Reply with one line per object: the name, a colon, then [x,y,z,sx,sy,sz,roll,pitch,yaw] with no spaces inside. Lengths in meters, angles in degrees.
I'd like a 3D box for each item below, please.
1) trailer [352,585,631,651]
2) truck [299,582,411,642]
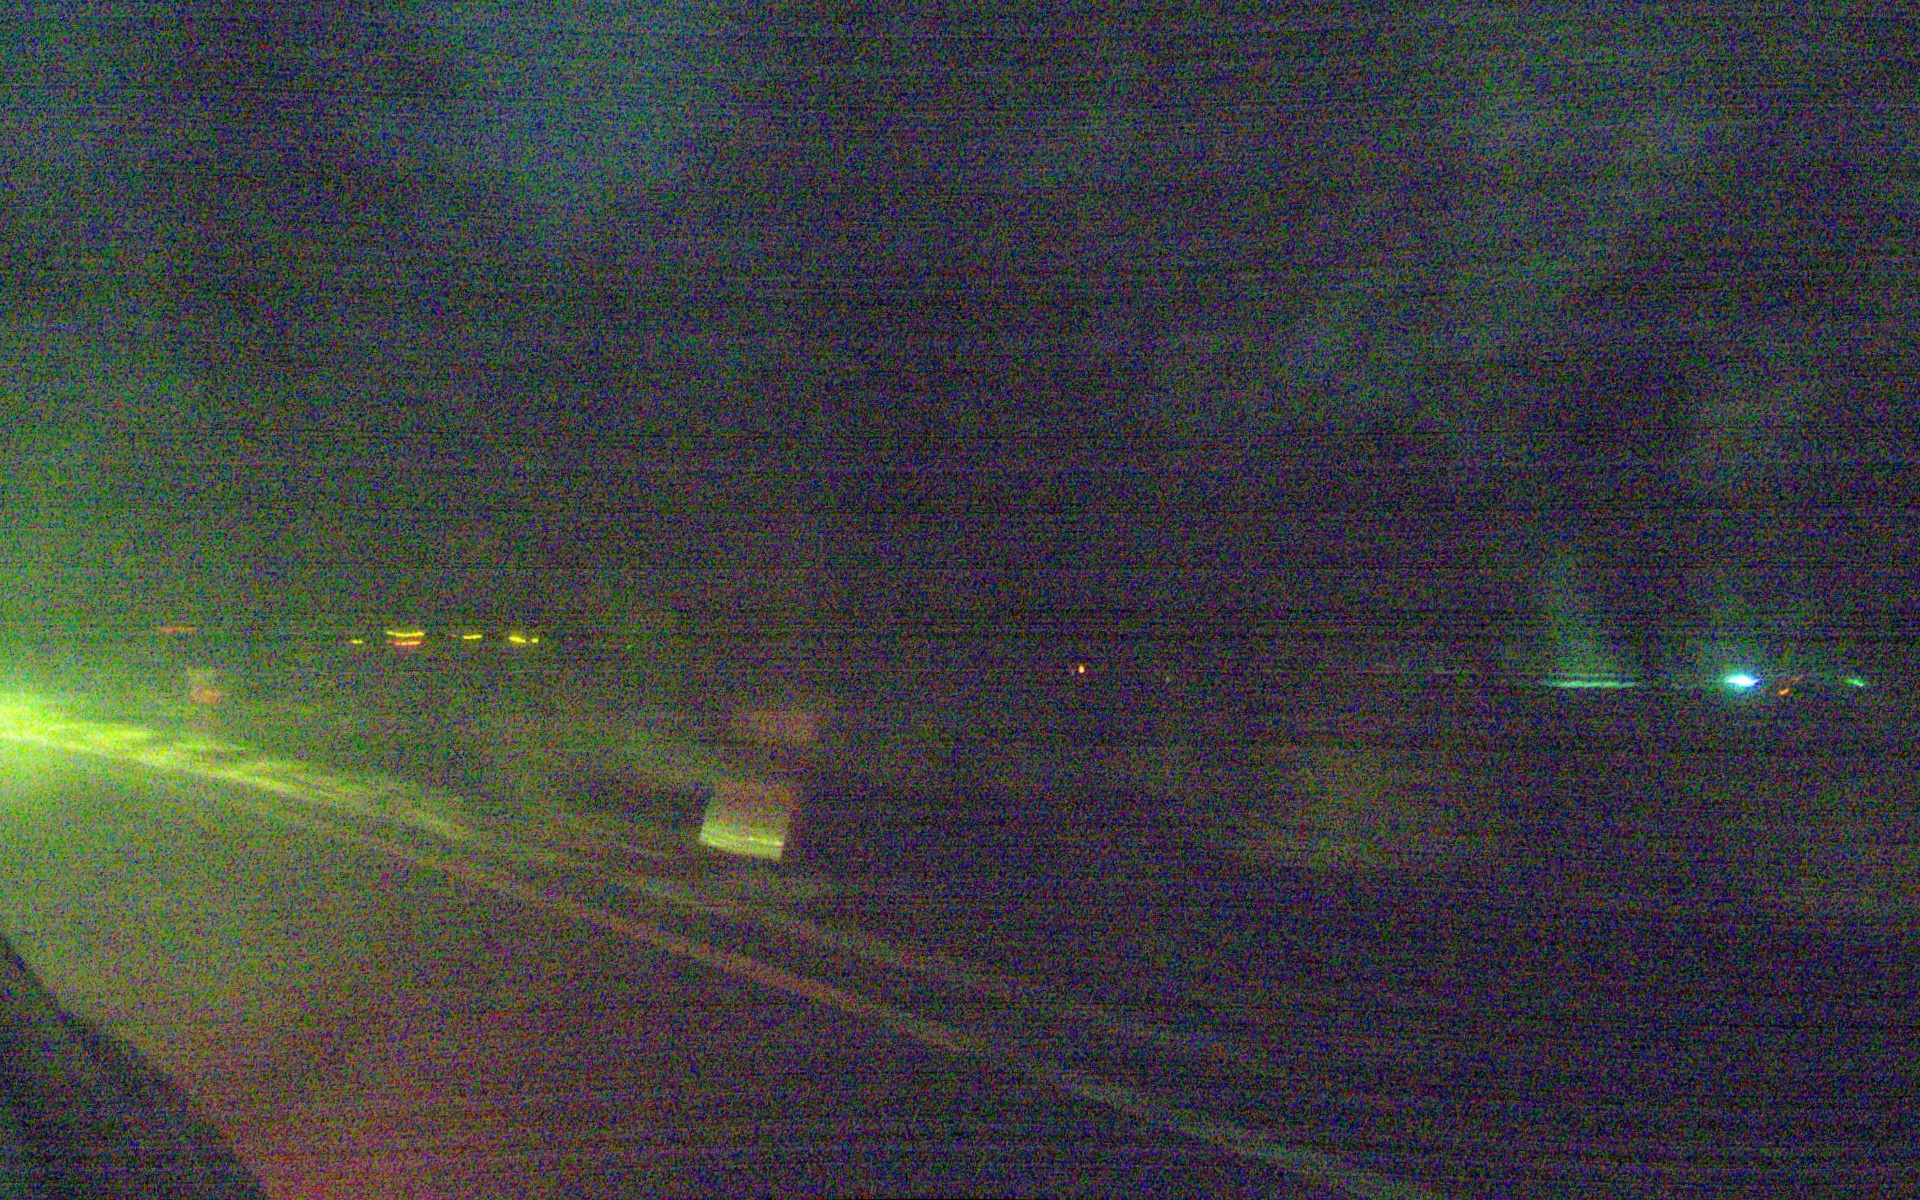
trailer: [-23.851,0.962,52.184,12.800,2.749,2.005,3,-2,-11]
truck: [-30.366,0.607,50.894,4.273,2.751,2.004,3,-2,-10]
